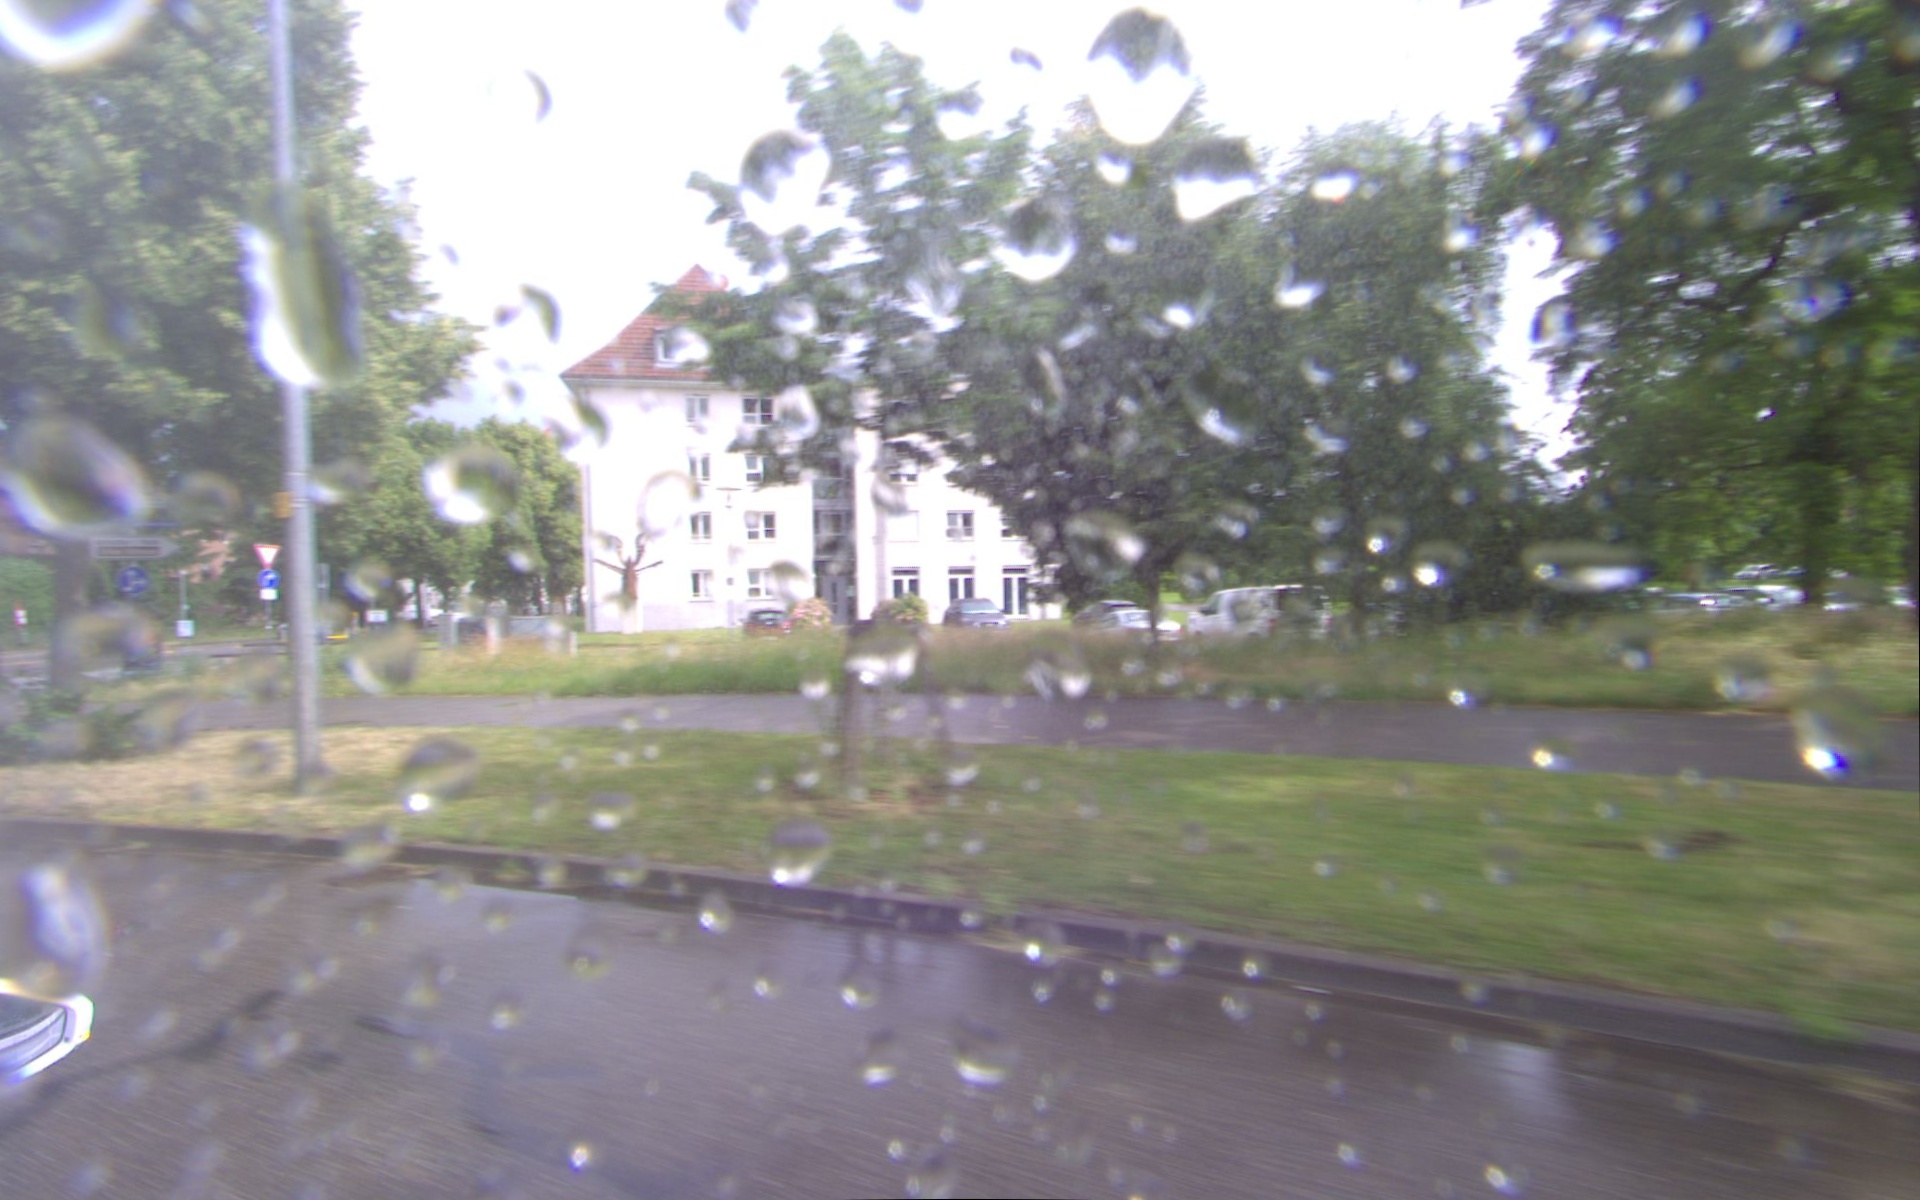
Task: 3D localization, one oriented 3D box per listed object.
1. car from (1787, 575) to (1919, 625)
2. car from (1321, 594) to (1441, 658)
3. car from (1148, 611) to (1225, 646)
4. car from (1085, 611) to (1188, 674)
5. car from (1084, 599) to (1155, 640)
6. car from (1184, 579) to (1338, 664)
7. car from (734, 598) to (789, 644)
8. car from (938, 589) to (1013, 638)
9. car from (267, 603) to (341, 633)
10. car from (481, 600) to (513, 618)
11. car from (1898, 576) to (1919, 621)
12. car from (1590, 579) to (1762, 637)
[{"bbox_3d":[28.546,-0.010,31.582,1.614,1.481,3.608,-1,0,-10],"label":"car"},{"bbox_3d":[11.849,0.702,28.411,1.500,1.685,3.598,-1,0,-7],"label":"car"},{"bbox_3d":[8.876,1.091,39.484,1.632,1.252,3.577,-1,0,-12],"label":"car"},{"bbox_3d":[4.663,1.085,26.908,1.578,1.530,3.618,-1,0,-10],"label":"car"},{"bbox_3d":[6.208,0.732,39.293,1.632,1.364,3.575,-1,3,-11],"label":"car"},{"bbox_3d":[8.199,0.513,27.876,2.073,2.085,5.156,-2,1,-9],"label":"car"},{"bbox_3d":[-7.162,0.715,35.943,1.646,1.502,3.733,-1,1,-16],"label":"car"},{"bbox_3d":[0.526,0.462,37.548,1.818,1.574,4.097,-1,3,-14],"label":"car"},{"bbox_3d":[-41.554,1.107,63.560,2.042,1.755,4.695,1,0,-6],"label":"car"},{"bbox_3d":[-49.431,0.934,107.008,2.043,1.755,4.692,1,0,-12],"label":"car"},{"bbox_3d":[33.360,-0.063,32.820,1.618,1.530,3.648,-1,0,-7],"label":"car"},{"bbox_3d":[21.152,0.242,29.802,1.816,1.580,3.974,-1,0,-13],"label":"car"}]
